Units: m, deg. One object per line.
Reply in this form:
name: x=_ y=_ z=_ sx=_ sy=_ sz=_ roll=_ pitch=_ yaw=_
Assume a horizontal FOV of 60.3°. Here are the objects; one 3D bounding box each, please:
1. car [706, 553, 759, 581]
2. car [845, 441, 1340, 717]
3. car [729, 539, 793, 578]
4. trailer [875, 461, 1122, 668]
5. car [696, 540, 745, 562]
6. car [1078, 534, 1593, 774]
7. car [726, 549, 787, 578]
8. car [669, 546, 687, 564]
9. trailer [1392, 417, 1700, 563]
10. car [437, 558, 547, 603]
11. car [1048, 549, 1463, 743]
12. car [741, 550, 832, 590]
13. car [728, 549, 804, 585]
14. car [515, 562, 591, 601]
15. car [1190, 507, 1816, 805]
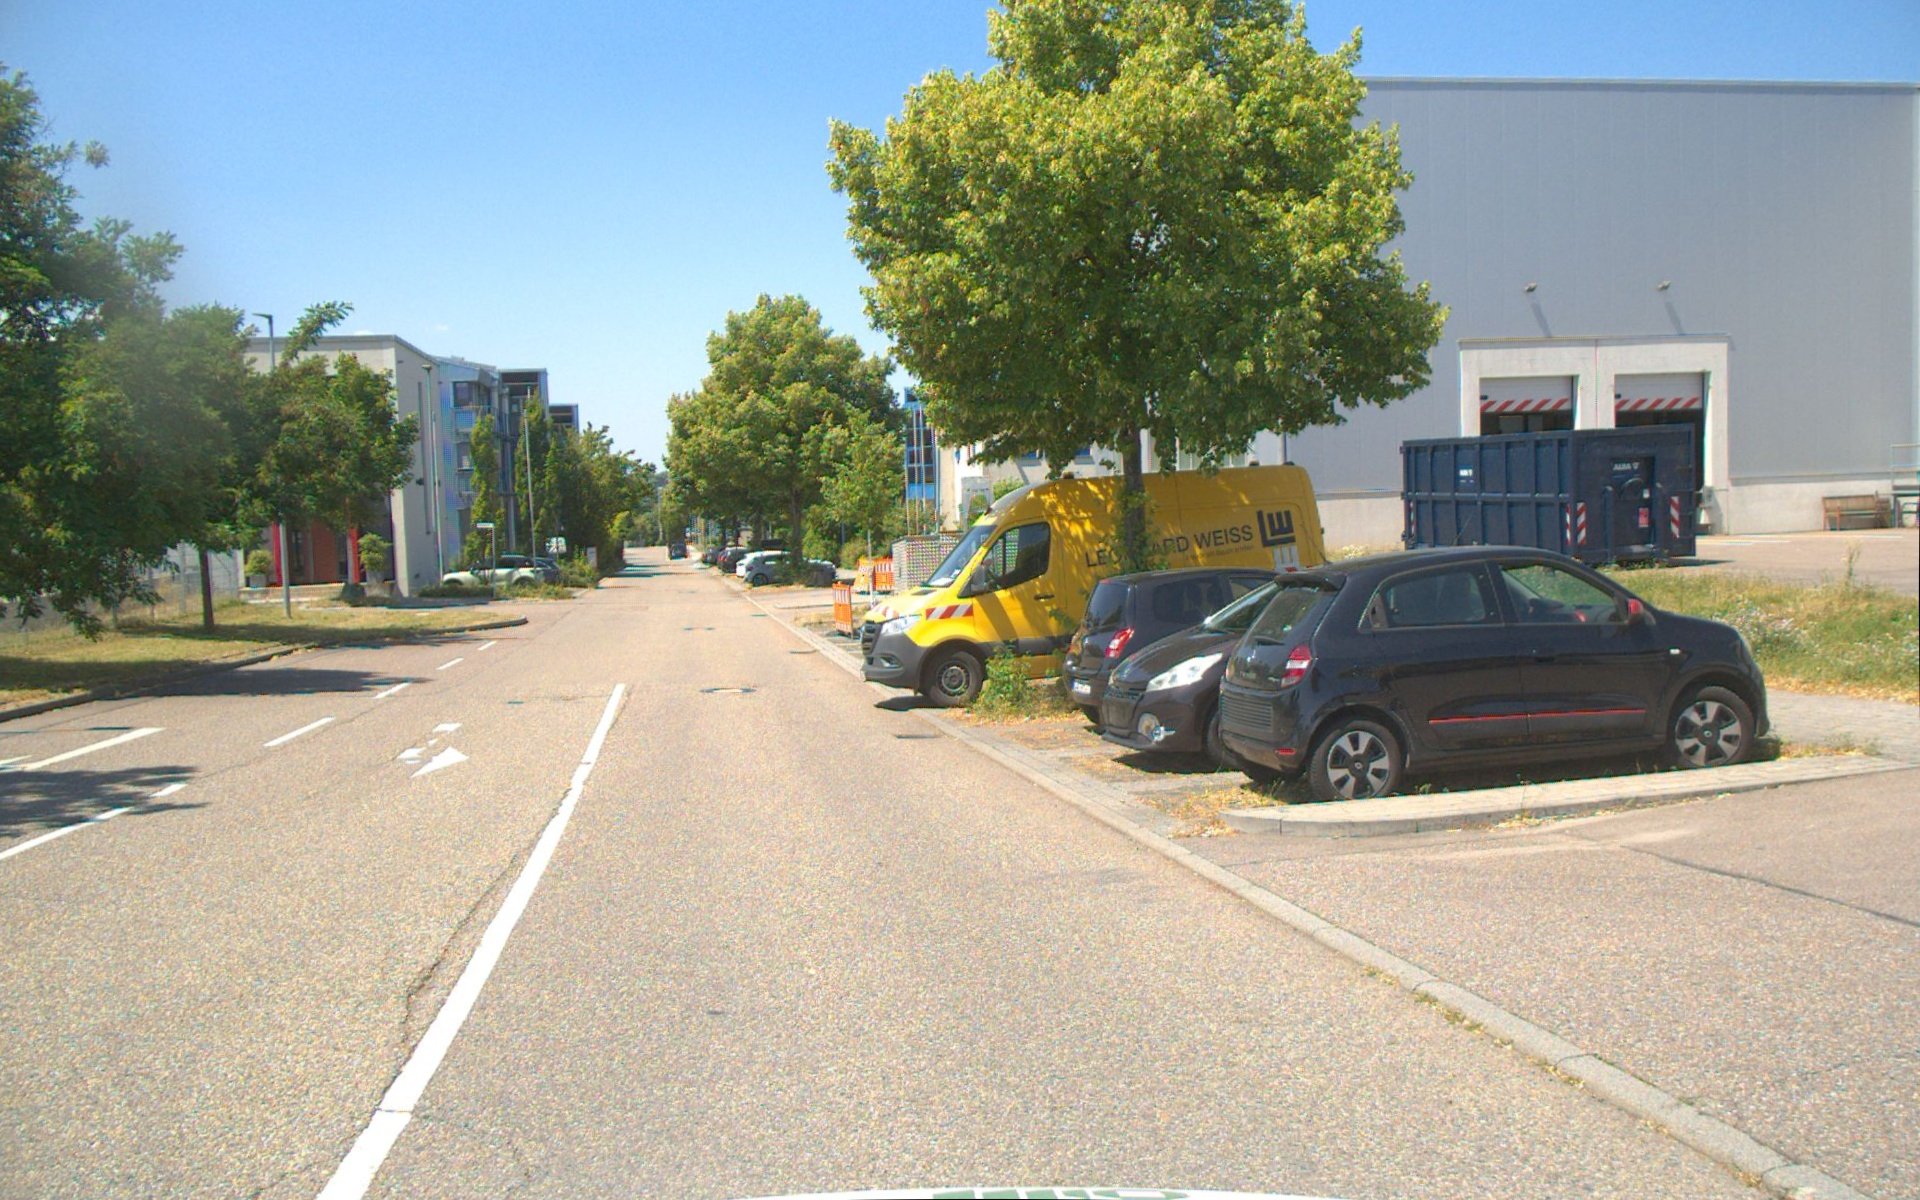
car: x=-17.969 y=-2.592 z=130.559 sx=3.871 sy=1.865 sz=1.759 roll=-4 pitch=6 yaw=-18
car: x=1.605 y=-0.337 z=20.640 sx=5.680 sy=2.778 sz=1.995 roll=-5 pitch=3 yaw=-12
car: x=-12.073 y=-2.524 z=100.246 sx=3.655 sy=2.147 sz=1.810 roll=-3 pitch=2 yaw=-11
trailer: x=0.479 y=-0.624 z=27.908 sx=2.612 sy=2.905 sz=5.501 roll=-6 pitch=3 yaw=-13
car: x=-20.624 y=-4.240 z=142.210 sx=3.871 sy=1.604 sz=1.759 roll=-4 pitch=6 yaw=-18
car: x=2.992 y=0.366 z=13.406 sx=3.706 sy=1.533 sz=1.586 roll=-4 pitch=2 yaw=-13
car: x=-12.767 y=-2.309 z=103.805 sx=3.655 sy=1.654 sz=1.810 roll=-3 pitch=2 yaw=-11
car: x=-30.714 y=-4.911 z=180.230 sx=1.729 sy=1.785 sz=3.936 roll=-3 pitch=2 yaw=-9
trailer: x=11.274 y=-2.281 z=32.704 sx=2.609 sy=2.461 sz=7.405 roll=-3 pitch=6 yaw=-8
car: x=-18.248 y=-0.766 z=64.678 sx=3.976 sy=1.520 sz=1.723 roll=-3 pitch=2 yaw=-13
car: x=2.803 y=0.382 z=15.967 sx=3.540 sy=1.503 sz=1.623 roll=-4 pitch=2 yaw=-12
car: x=-7.558 y=-1.316 z=71.930 sx=3.620 sy=1.377 sz=1.639 roll=-7 pitch=3 yaw=-15
car: x=-9.562 y=-1.640 z=81.507 sx=3.460 sy=1.377 sz=1.532 roll=-7 pitch=3 yaw=-15
car: x=-17.131 y=-0.786 z=69.653 sx=3.009 sy=1.504 sz=1.287 roll=-3 pitch=2 yaw=-17
car: x=3.575 y=0.304 z=11.148 sx=3.596 sy=1.487 sz=1.623 roll=-6 pitch=2 yaw=-10
